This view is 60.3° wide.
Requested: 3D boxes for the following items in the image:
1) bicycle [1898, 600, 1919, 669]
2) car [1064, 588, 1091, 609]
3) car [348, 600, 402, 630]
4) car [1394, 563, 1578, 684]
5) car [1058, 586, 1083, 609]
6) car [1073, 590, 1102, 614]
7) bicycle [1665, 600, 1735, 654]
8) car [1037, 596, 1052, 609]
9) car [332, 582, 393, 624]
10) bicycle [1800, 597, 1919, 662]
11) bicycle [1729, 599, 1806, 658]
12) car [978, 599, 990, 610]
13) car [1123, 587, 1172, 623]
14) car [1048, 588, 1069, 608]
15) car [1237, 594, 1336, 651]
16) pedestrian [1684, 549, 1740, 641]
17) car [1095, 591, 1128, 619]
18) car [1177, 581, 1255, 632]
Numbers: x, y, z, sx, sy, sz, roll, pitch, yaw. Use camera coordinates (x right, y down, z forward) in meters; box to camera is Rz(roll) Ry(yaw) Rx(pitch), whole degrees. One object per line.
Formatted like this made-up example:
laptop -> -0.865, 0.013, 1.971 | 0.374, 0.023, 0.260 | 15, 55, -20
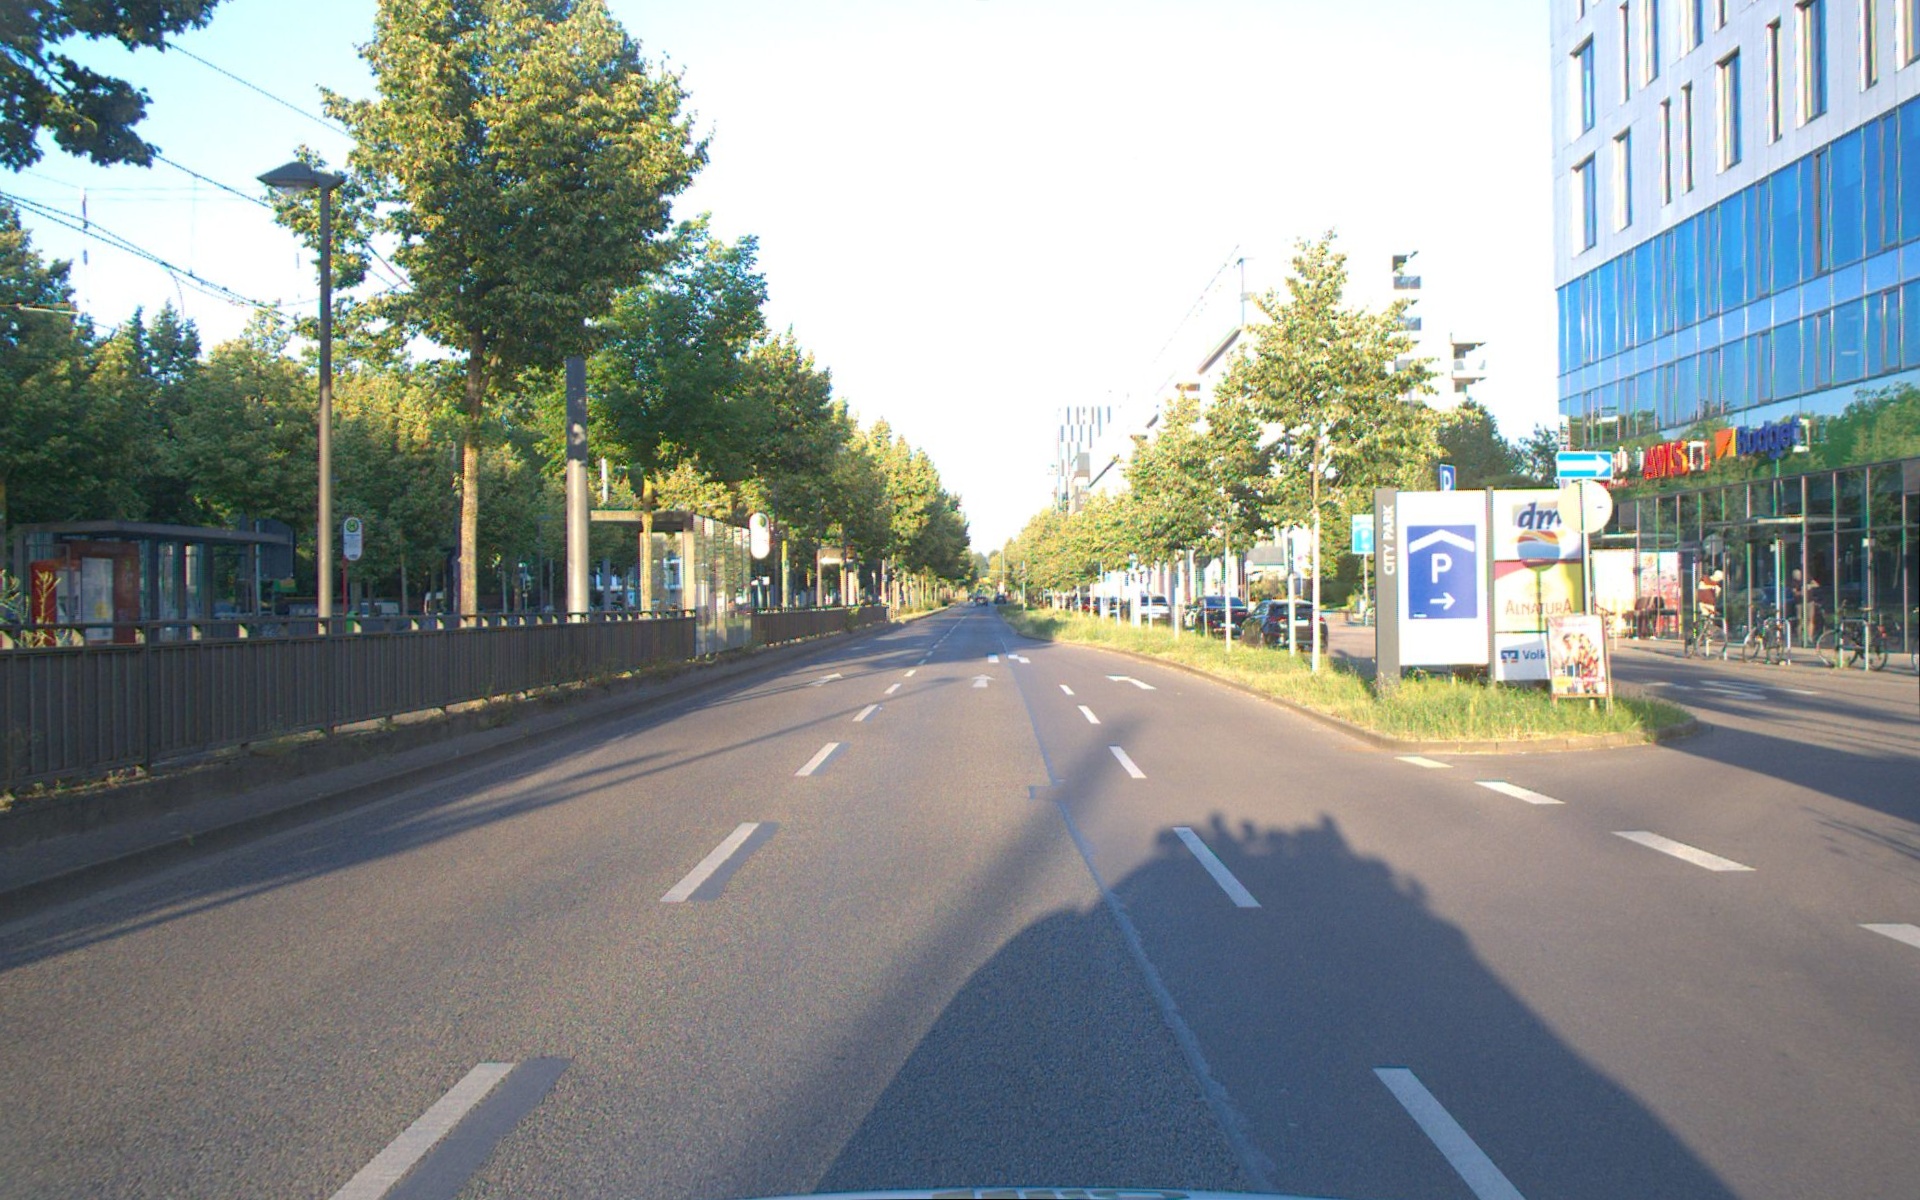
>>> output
bicycle -> 15.502, 0.542, 25.989 | 0.621, 1.086, 2.124 | -1, 0, 9
car -> 9.661, -0.108, 136.092 | 1.736, 1.664, 3.559 | -1, 0, -4
car -> -39.054, 0.987, 110.465 | 1.866, 1.847, 4.222 | -2, 0, 3
car -> 8.819, 0.366, 28.116 | 1.813, 1.859, 4.395 | 1, 0, 1
car -> 10.088, -0.273, 151.324 | 1.953, 2.049, 4.000 | -1, 0, 0
car -> 9.948, 0.161, 129.289 | 1.856, 1.802, 3.946 | -1, 0, 0
bicycle -> 15.554, 0.557, 34.814 | 0.621, 1.086, 2.123 | -1, 0, 3
car -> 11.136, 0.306, 218.351 | 1.661, 1.624, 3.999 | -2, 0, 0
car -> -32.488, 0.168, 89.972 | 1.738, 2.223, 4.001 | -1, 0, 1
bicycle -> 15.769, 0.500, 29.047 | 0.623, 1.086, 2.116 | -1, 0, -11
bicycle -> 15.697, 0.539, 32.218 | 0.621, 1.086, 2.123 | -1, 0, 5
car -> 3.473, 0.679, 244.130 | 1.661, 1.624, 3.999 | -2, 0, 0
car -> 9.331, 0.221, 82.605 | 1.953, 1.726, 4.415 | 1, 0, 0
car -> 10.500, -0.208, 176.624 | 1.953, 2.049, 4.000 | -1, 0, 0
car -> 8.886, 0.589, 45.354 | 1.787, 1.460, 4.459 | 1, 0, 0
pedestrian -> 17.947, -0.113, 39.494 | 0.795, 2.126, 1.113 | -2, 0, 3
car -> 9.642, 0.298, 105.564 | 1.986, 1.726, 4.399 | 1, 0, 4
car -> 9.182, 0.216, 59.726 | 1.953, 1.726, 4.592 | 1, 0, -2
